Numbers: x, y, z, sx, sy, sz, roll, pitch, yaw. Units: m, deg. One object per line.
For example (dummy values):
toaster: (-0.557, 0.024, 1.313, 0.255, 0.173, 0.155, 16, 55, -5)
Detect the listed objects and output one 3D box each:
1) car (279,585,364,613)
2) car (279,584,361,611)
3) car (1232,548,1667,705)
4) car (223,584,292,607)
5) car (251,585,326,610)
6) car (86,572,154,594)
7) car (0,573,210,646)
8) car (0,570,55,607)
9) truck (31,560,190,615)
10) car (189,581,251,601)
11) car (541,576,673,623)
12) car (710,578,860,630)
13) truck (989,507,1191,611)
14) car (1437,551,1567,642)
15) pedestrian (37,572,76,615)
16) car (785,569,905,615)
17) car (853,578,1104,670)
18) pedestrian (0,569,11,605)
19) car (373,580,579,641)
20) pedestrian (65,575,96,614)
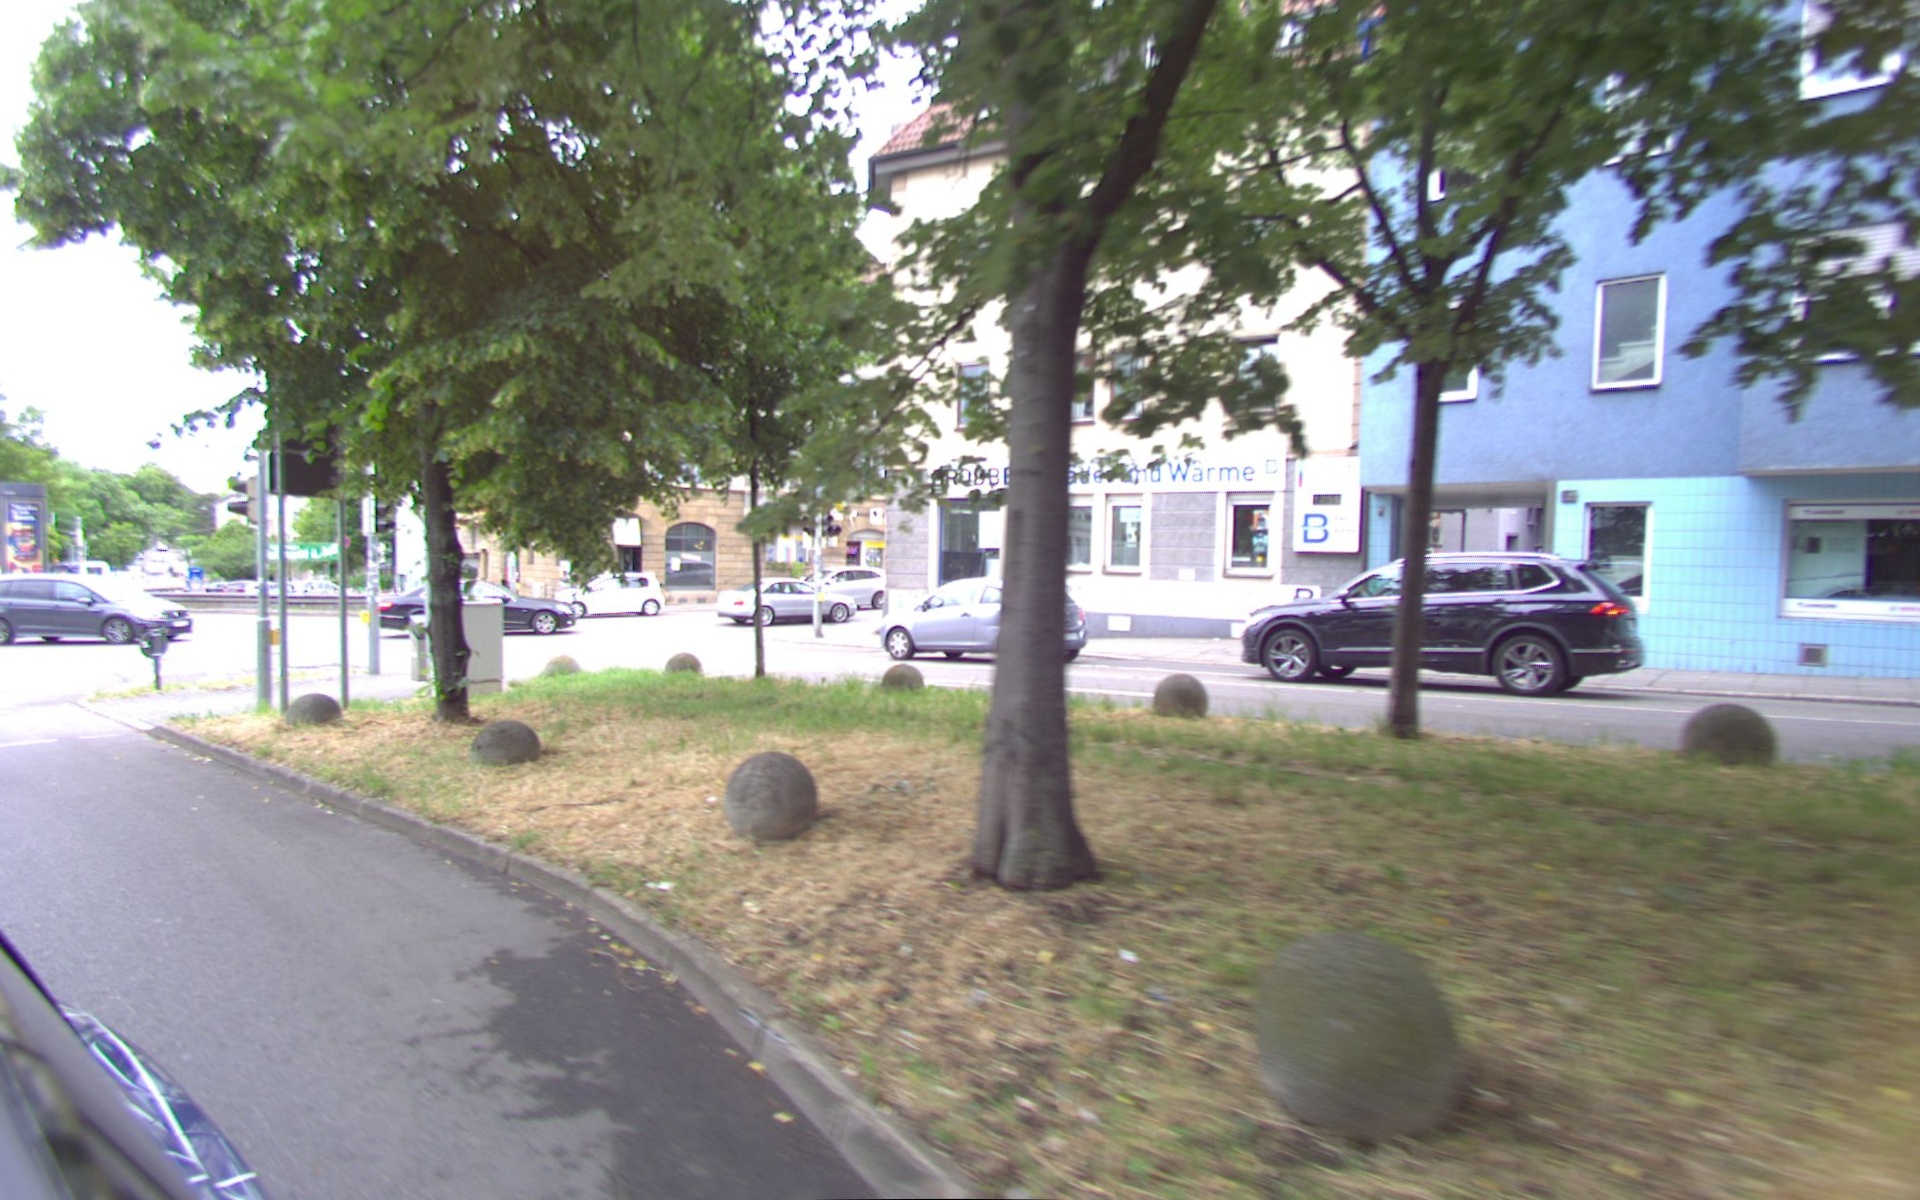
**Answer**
car: (-38.136, -0.068, 60.524, 3.874, 1.610, 1.895, 0, 2, -4)
car: (-40.041, -0.185, 63.375, 3.874, 1.610, 1.895, 0, 2, -4)
car: (6.036, 0.257, 12.835, 4.676, 1.649, 1.797, 1, 0, 40)
car: (-52.803, -0.354, 76.130, 3.868, 1.610, 1.898, 0, 2, -12)
car: (-46.287, -0.177, 69.834, 3.868, 1.610, 1.898, 0, 2, -12)
car: (-69.060, -1.446, 83.297, 1.877, 1.717, 3.911, 1, 3, 18)
car: (-21.278, 0.197, 24.555, 4.657, 1.626, 1.861, -1, 3, -4)
car: (-43.290, -0.552, 45.924, 2.174, 1.583, 4.493, -1, 3, -27)
truck: (-45.451, -0.610, 54.422, 2.739, 2.744, 6.442, -1, 0, 7)
car: (-63.559, -0.781, 86.954, 3.868, 1.610, 1.898, 0, 2, -12)
car: (-11.872, -0.071, 34.054, 3.895, 1.441, 1.802, -1, 3, -31)
car: (-5.294, 0.065, 30.828, 4.199, 1.352, 1.711, -2, 4, -38)
truck: (5.163, -1.575, 38.898, 8.380, 3.601, 2.715, -2, 3, -40)
car: (13.571, -0.184, 25.192, 1.998, 2.028, 4.881, 2, 3, 38)
pedestrian: (-34.317, -0.246, 38.443, 0.793, 1.595, 0.704, 1, 2, 7)
car: (-4.042, -0.321, 35.871, 3.989, 1.484, 1.655, -2, 3, -39)
car: (0.230, 0.387, 17.707, 4.289, 1.417, 1.653, -1, 0, 39)
pedestrian: (-53.714, -0.717, 56.230, 1.257, 1.973, 0.924, 1, 2, 17)
car: (-12.453, 0.222, 26.329, 4.656, 1.430, 1.848, -1, 3, -23)
pedestrian: (-32.989, -0.201, 37.963, 0.594, 1.443, 0.604, 1, 2, 8)
